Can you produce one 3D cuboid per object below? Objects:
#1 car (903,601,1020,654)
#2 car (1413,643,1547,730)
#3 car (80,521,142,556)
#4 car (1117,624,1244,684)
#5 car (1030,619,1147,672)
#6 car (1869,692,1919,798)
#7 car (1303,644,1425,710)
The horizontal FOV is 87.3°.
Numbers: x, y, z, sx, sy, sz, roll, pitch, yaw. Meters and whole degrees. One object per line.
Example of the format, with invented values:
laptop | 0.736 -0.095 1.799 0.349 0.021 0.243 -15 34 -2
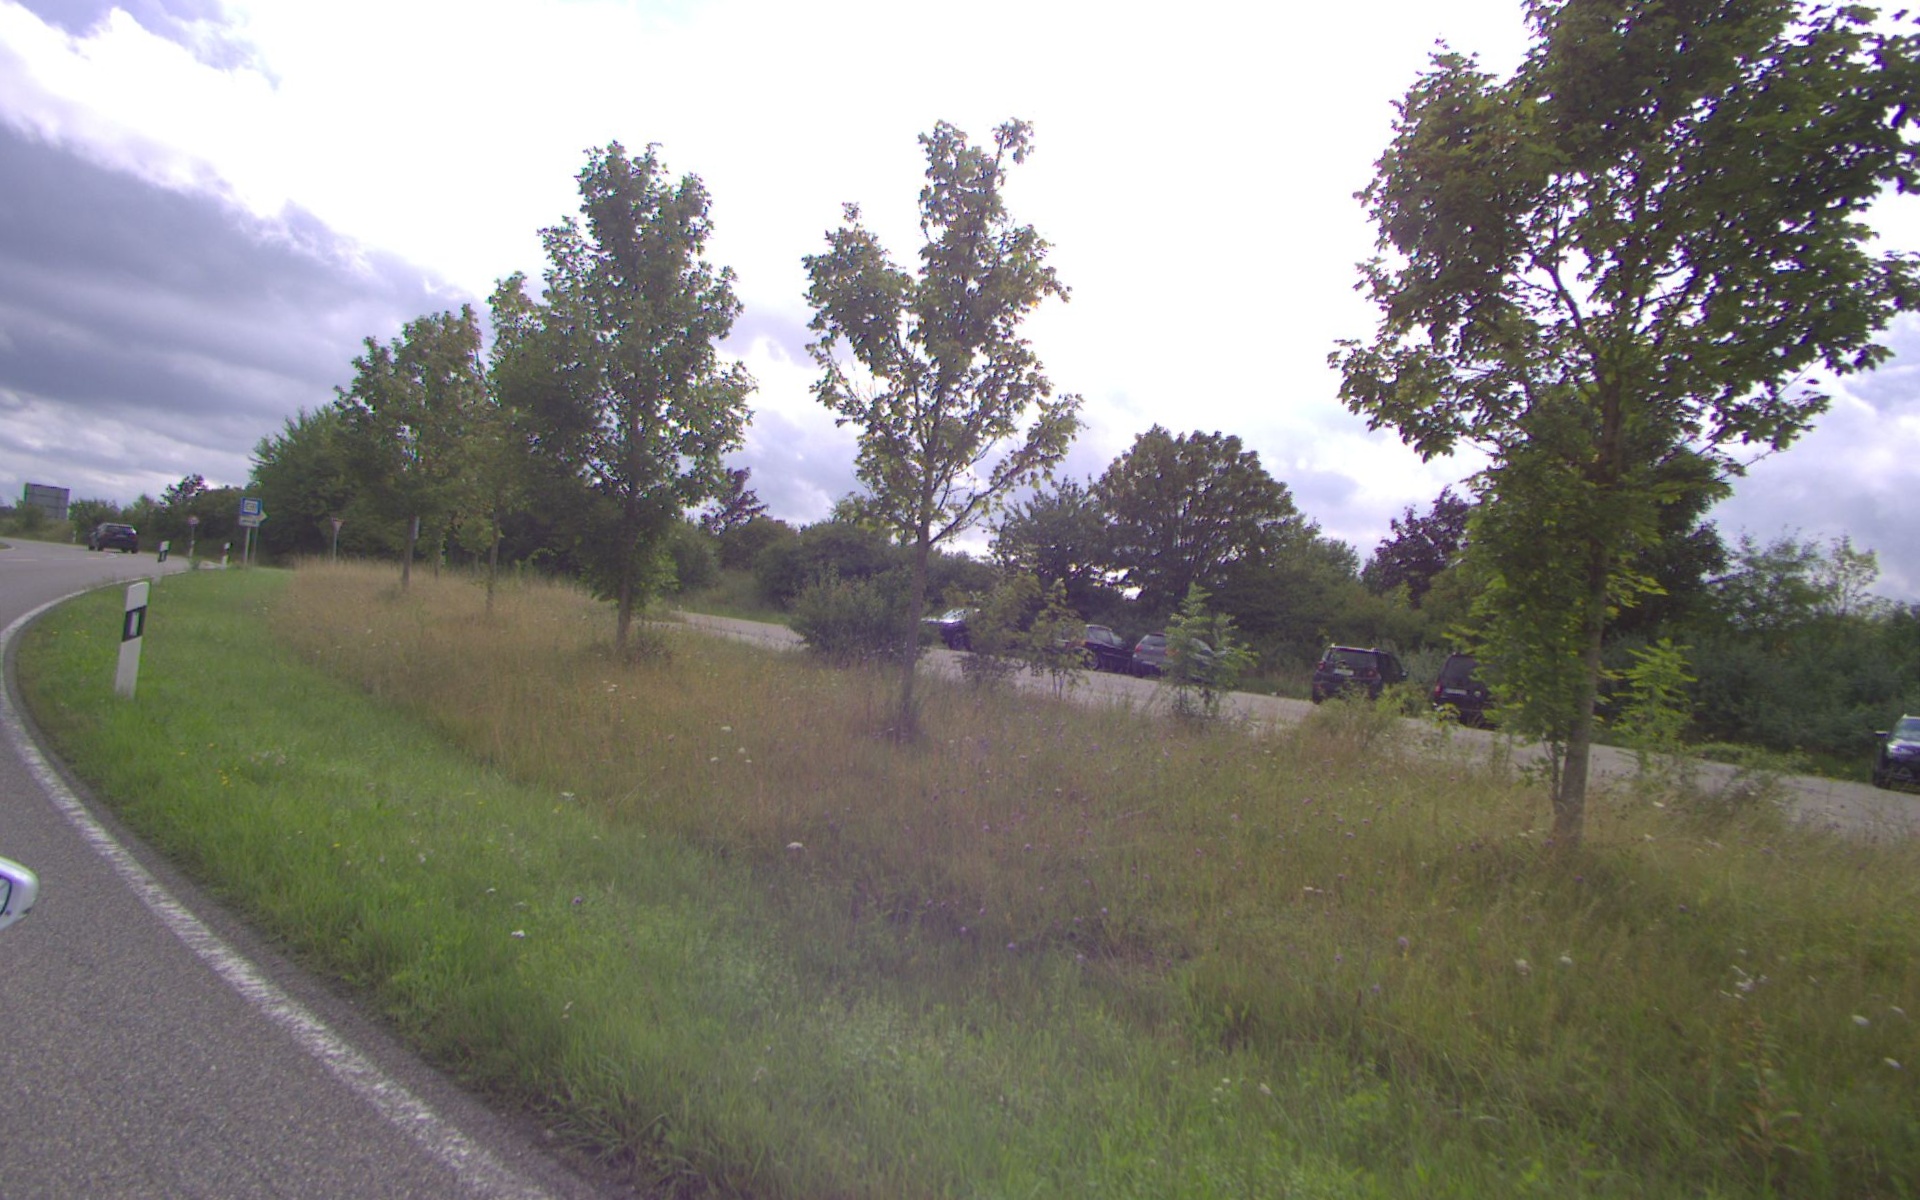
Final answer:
car | 0.109 1.079 38.147 1.971 1.600 4.474 5 -1 39
car | 13.458 2.244 25.941 1.973 1.882 3.979 5 -1 43
car | -50.977 -3.684 60.382 3.939 1.686 1.907 5 -2 37
car | 7.029 1.738 31.880 3.985 1.523 2.026 7 -1 -45
car | 4.413 1.569 34.160 1.971 1.431 4.149 5 -1 39
car | 19.236 2.887 19.906 1.721 1.882 3.979 5 -1 43
car | 11.189 2.134 27.719 1.971 1.515 3.984 5 -1 39
